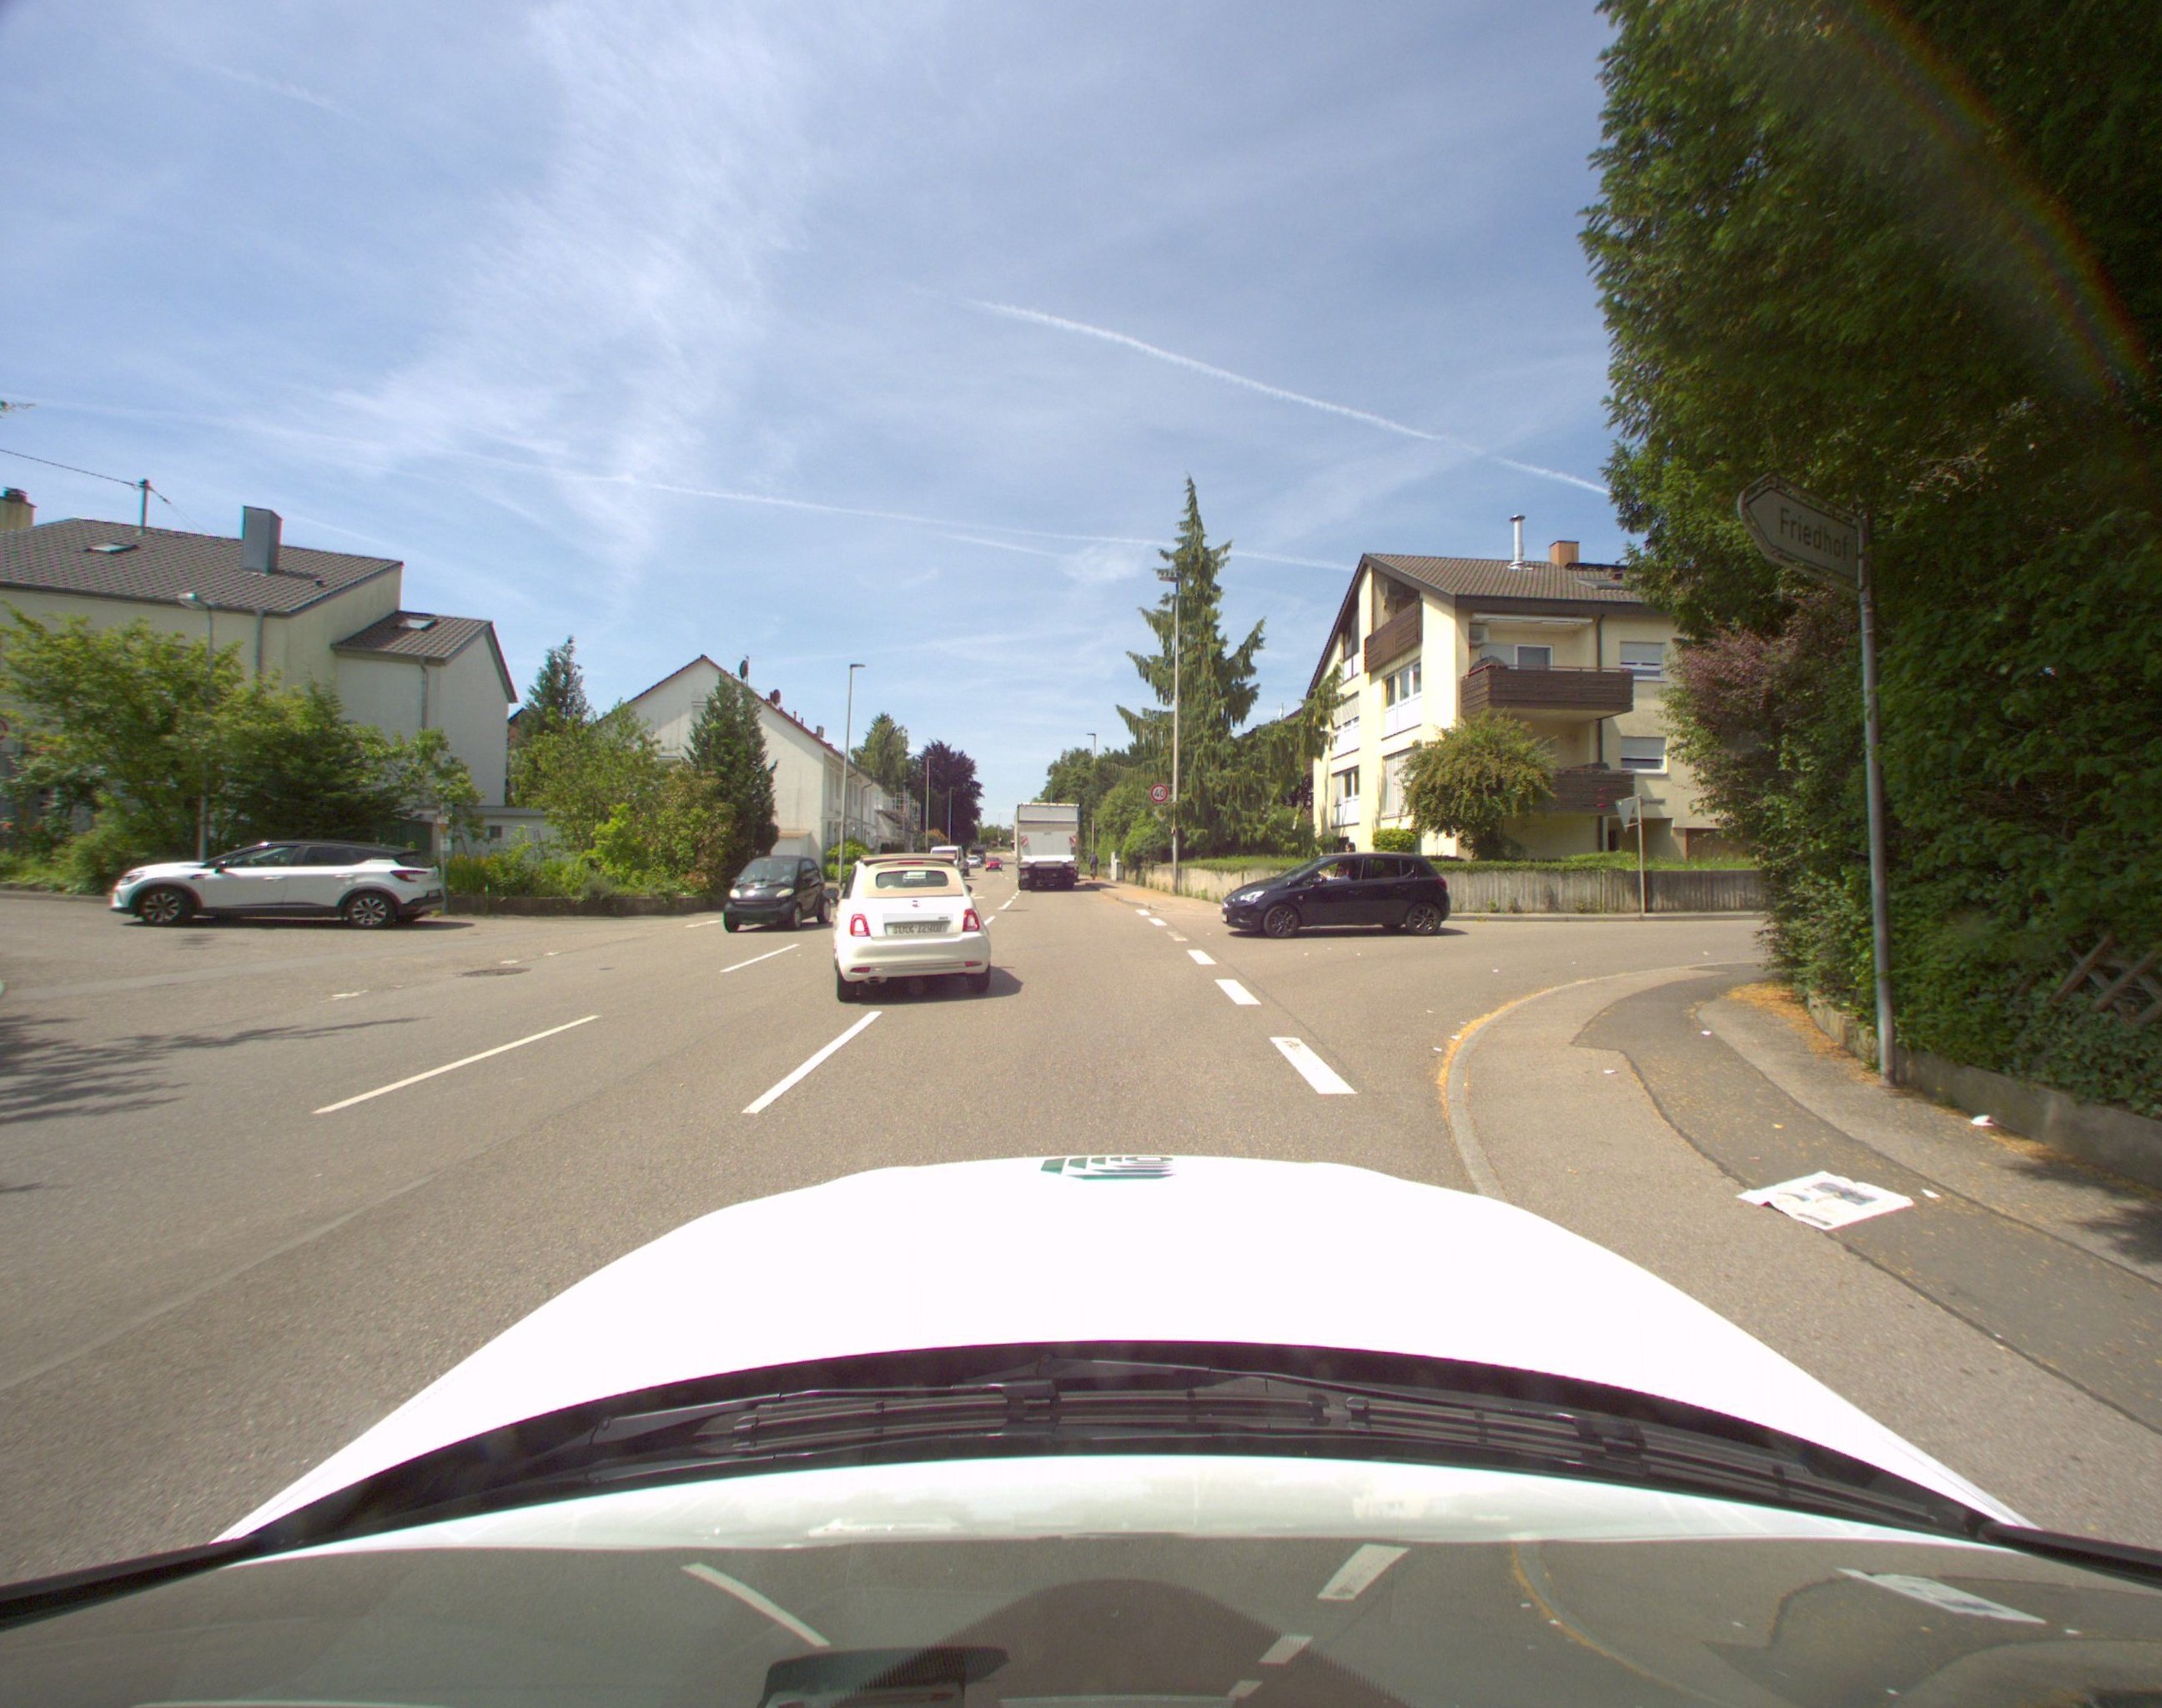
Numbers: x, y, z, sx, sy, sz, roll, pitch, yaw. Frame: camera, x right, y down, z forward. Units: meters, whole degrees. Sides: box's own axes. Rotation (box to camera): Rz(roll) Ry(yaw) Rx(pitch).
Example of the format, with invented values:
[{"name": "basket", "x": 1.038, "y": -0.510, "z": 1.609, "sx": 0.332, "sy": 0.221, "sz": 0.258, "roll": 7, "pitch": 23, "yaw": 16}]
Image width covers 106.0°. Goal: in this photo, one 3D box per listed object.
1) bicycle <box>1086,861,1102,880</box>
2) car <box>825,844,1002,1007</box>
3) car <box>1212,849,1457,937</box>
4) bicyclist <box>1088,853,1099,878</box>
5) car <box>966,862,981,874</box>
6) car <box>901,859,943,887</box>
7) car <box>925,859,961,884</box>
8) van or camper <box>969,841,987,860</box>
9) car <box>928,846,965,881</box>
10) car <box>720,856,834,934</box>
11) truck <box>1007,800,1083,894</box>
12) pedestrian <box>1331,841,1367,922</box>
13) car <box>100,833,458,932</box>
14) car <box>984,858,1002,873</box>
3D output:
[{"name": "bicycle", "x": 0.741, "y": 0.944, "z": 47.227, "sx": 0.667, "sy": 1.104, "sz": 2.421, "roll": 1, "pitch": 0, "yaw": -4}, {"name": "car", "x": -2.226, "y": 0.724, "z": 10.160, "sx": 1.729, "sy": 1.560, "sz": 3.977, "roll": -1, "pitch": 0, "yaw": -16}, {"name": "car", "x": 4.459, "y": 0.668, "z": 14.739, "sx": 3.921, "sy": 1.458, "sz": 1.658, "roll": -1, "pitch": 0, "yaw": 0}, {"name": "bicyclist", "x": 0.726, "y": 0.665, "z": 47.115, "sx": 0.587, "sy": 1.412, "sz": 0.741, "roll": 1, "pitch": 0, "yaw": -4}, {"name": "car", "x": -14.006, "y": 1.856, "z": 106.219, "sx": 1.472, "sy": 1.494, "sz": 3.080, "roll": 0, "pitch": -1, "yaw": 1}, {"name": "car", "x": -8.435, "y": 0.986, "z": 43.403, "sx": 1.802, "sy": 1.398, "sz": 3.992, "roll": 0, "pitch": 0, "yaw": -6}, {"name": "car", "x": -8.306, "y": 1.032, "z": 49.261, "sx": 1.802, "sy": 1.398, "sz": 3.960, "roll": 0, "pitch": 0, "yaw": -6}, {"name": "van or camper", "x": -16.347, "y": -0.499, "z": 129.381, "sx": 2.259, "sy": 2.962, "sz": 5.884, "roll": 1, "pitch": 0, "yaw": -2}, {"name": "car", "x": -8.985, "y": 0.606, "z": 54.875, "sx": 2.034, "sy": 2.200, "sz": 5.571, "roll": 0, "pitch": 0, "yaw": -6}, {"name": "car", "x": -6.416, "y": 0.806, "z": 17.445, "sx": 1.477, "sy": 1.510, "sz": 2.797, "roll": -1, "pitch": 0, "yaw": -3}, {"name": "truck", "x": -1.776, "y": -0.264, "z": 37.011, "sx": 3.063, "sy": 3.774, "sz": 7.853, "roll": -1, "pitch": 0, "yaw": -5}, {"name": "pedestrian", "x": 5.627, "y": 0.558, "z": 17.108, "sx": 0.690, "sy": 1.671, "sz": 0.572, "roll": 0, "pitch": 0, "yaw": 20}, {"name": "car", "x": -14.208, "y": 0.534, "z": 14.802, "sx": 4.174, "sy": 1.529, "sz": 1.775, "roll": 3, "pitch": -1, "yaw": -23}, {"name": "car", "x": -9.769, "y": 1.271, "z": 90.387, "sx": 1.830, "sy": 1.534, "sz": 3.993, "roll": 1, "pitch": -1, "yaw": -5}]
